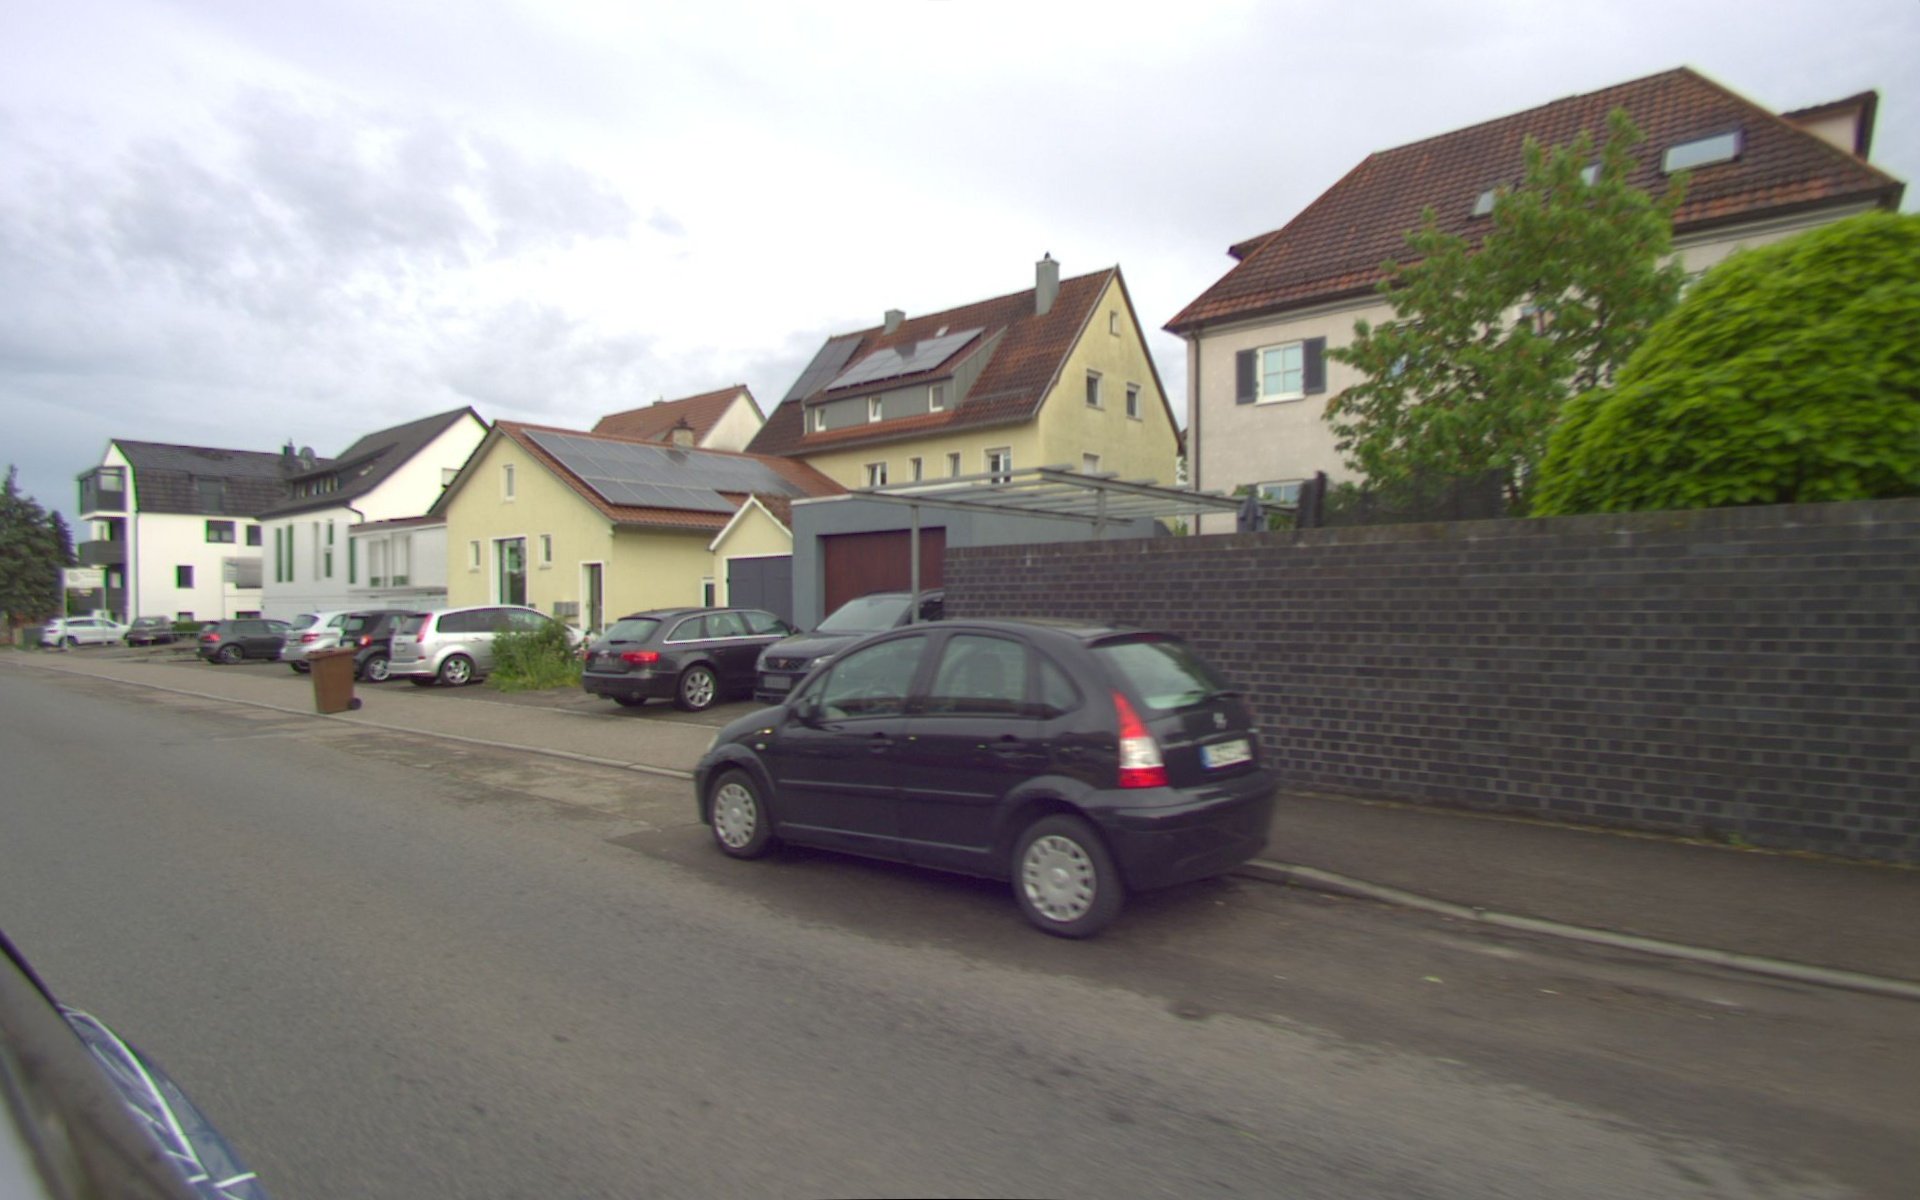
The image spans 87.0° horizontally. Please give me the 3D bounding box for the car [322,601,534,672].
[{"bbox_3d":[-12.321,0.794,23.670,1.752,1.514,4.049,-2,-1,35],"label":"car"}]

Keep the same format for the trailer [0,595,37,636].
[{"bbox_3d":[-72.567,1.199,76.426,2.167,3.069,4.008,-1,0,40],"label":"trailer"}]

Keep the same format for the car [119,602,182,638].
[{"bbox_3d":[-40.750,1.006,50.935,4.000,1.541,1.800,-1,5,43],"label":"car"}]

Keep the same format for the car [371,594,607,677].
[{"bbox_3d":[-9.639,0.673,20.970,1.880,1.525,4.046,-2,-1,37],"label":"car"}]

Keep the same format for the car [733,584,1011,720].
[{"bbox_3d":[-1.033,0.569,13.347,1.753,1.468,3.554,-1,1,36],"label":"car"}]

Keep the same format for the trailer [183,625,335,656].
[{"bbox_3d":[-24.985,1.408,36.187,1.792,0.950,4.156,-2,-1,38],"label":"trailer"}]

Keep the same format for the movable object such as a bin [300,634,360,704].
[{"bbox_3d":[-10.511,1.142,16.882,0.686,1.065,0.590,-3,2,41],"label":"movable object such as a bin"}]

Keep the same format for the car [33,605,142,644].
[{"bbox_3d":[-45.665,1.248,53.021,1.998,1.659,3.949,-2,3,39],"label":"car"}]

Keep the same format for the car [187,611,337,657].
[{"bbox_3d":[-23.293,1.100,33.878,1.766,1.449,3.835,-2,-1,40],"label":"car"}]

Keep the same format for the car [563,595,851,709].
[{"bbox_3d":[-3.679,0.684,15.335,1.711,1.424,4.046,-2,0,38],"label":"car"}]

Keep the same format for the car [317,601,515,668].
[{"bbox_3d":[-13.665,0.823,25.600,1.811,1.544,4.046,-2,-1,37],"label":"car"}]

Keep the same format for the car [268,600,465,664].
[{"bbox_3d":[-15.629,0.798,26.822,1.995,1.544,4.049,-2,-1,35],"label":"car"}]

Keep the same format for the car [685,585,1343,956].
[{"bbox_3d":[0.120,0.739,5.987,3.705,1.518,1.592,-1,-2,41],"label":"car"}]
